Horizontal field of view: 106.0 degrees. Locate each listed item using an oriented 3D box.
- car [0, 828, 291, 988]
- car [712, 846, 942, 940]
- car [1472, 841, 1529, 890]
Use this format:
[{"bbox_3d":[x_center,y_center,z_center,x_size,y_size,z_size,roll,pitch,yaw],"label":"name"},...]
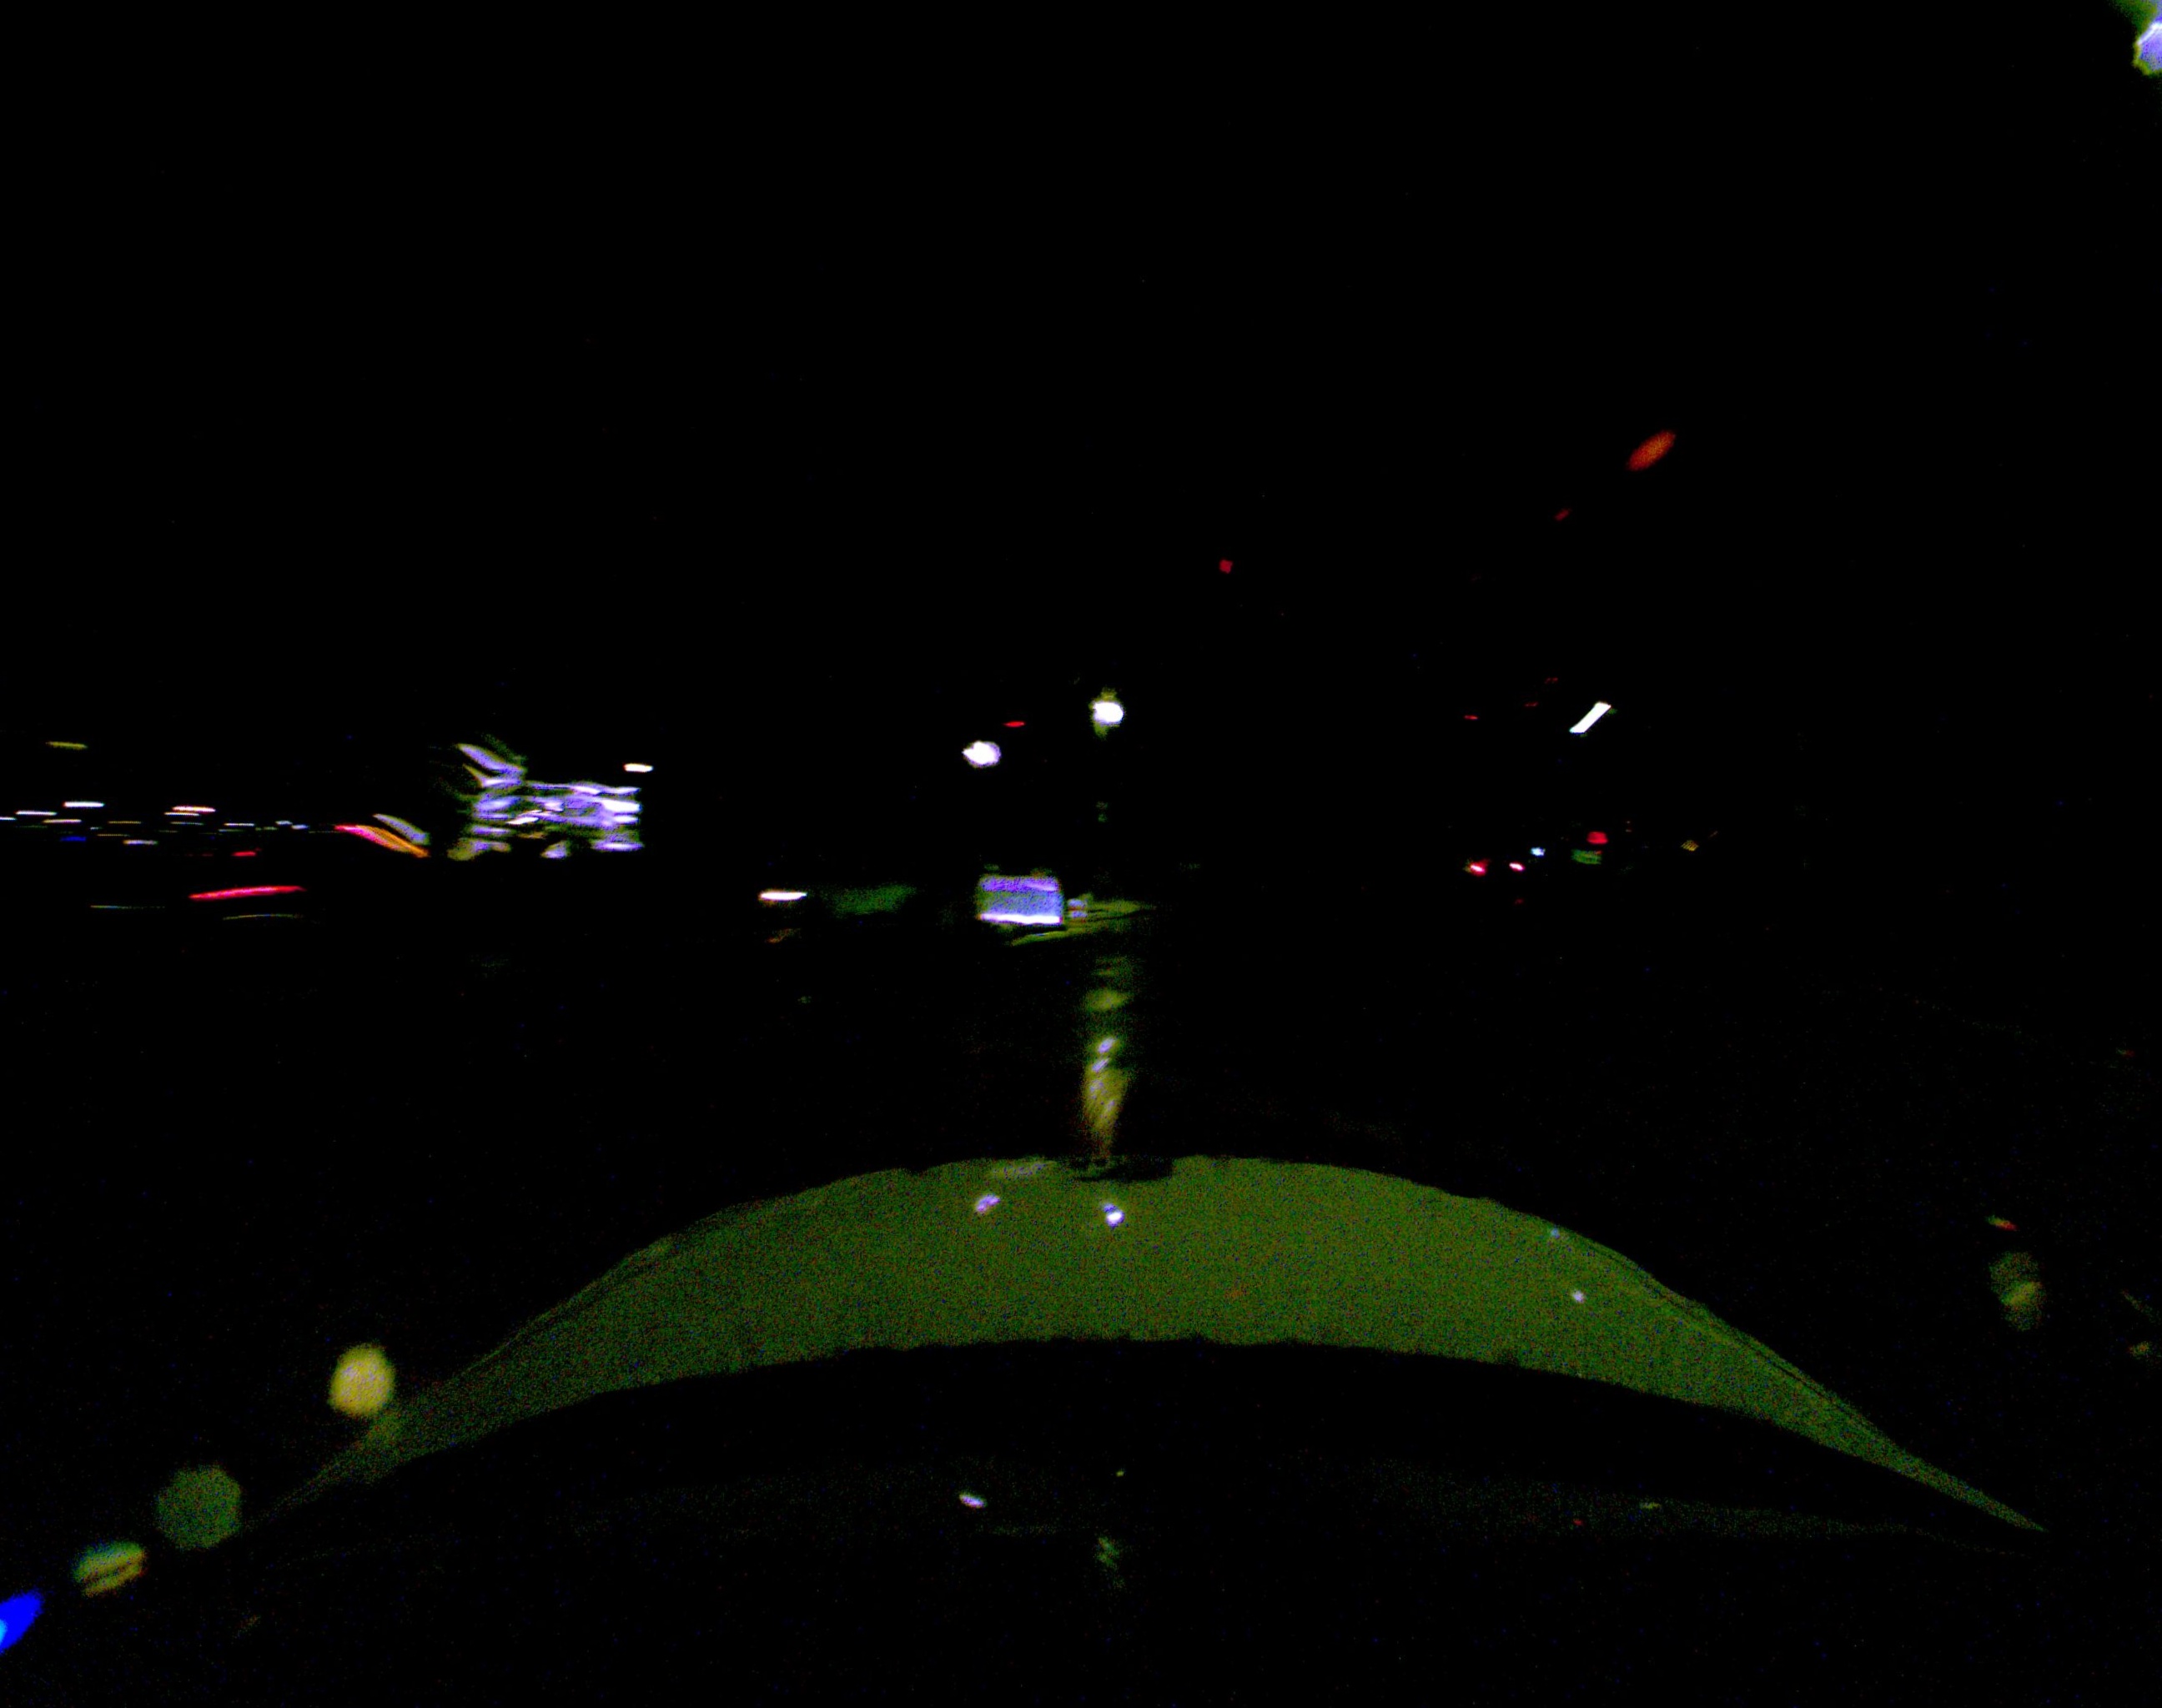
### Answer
[{"bbox_3d":[-12.544,0.573,9.561,4.646,1.736,1.976,1,1,-44],"label":"car"},{"bbox_3d":[-5.395,0.751,17.717,1.854,1.758,4.420,1,1,43],"label":"car"},{"bbox_3d":[18.759,0.479,36.348,1.975,2.013,4.586,1,1,30],"label":"car"}]
